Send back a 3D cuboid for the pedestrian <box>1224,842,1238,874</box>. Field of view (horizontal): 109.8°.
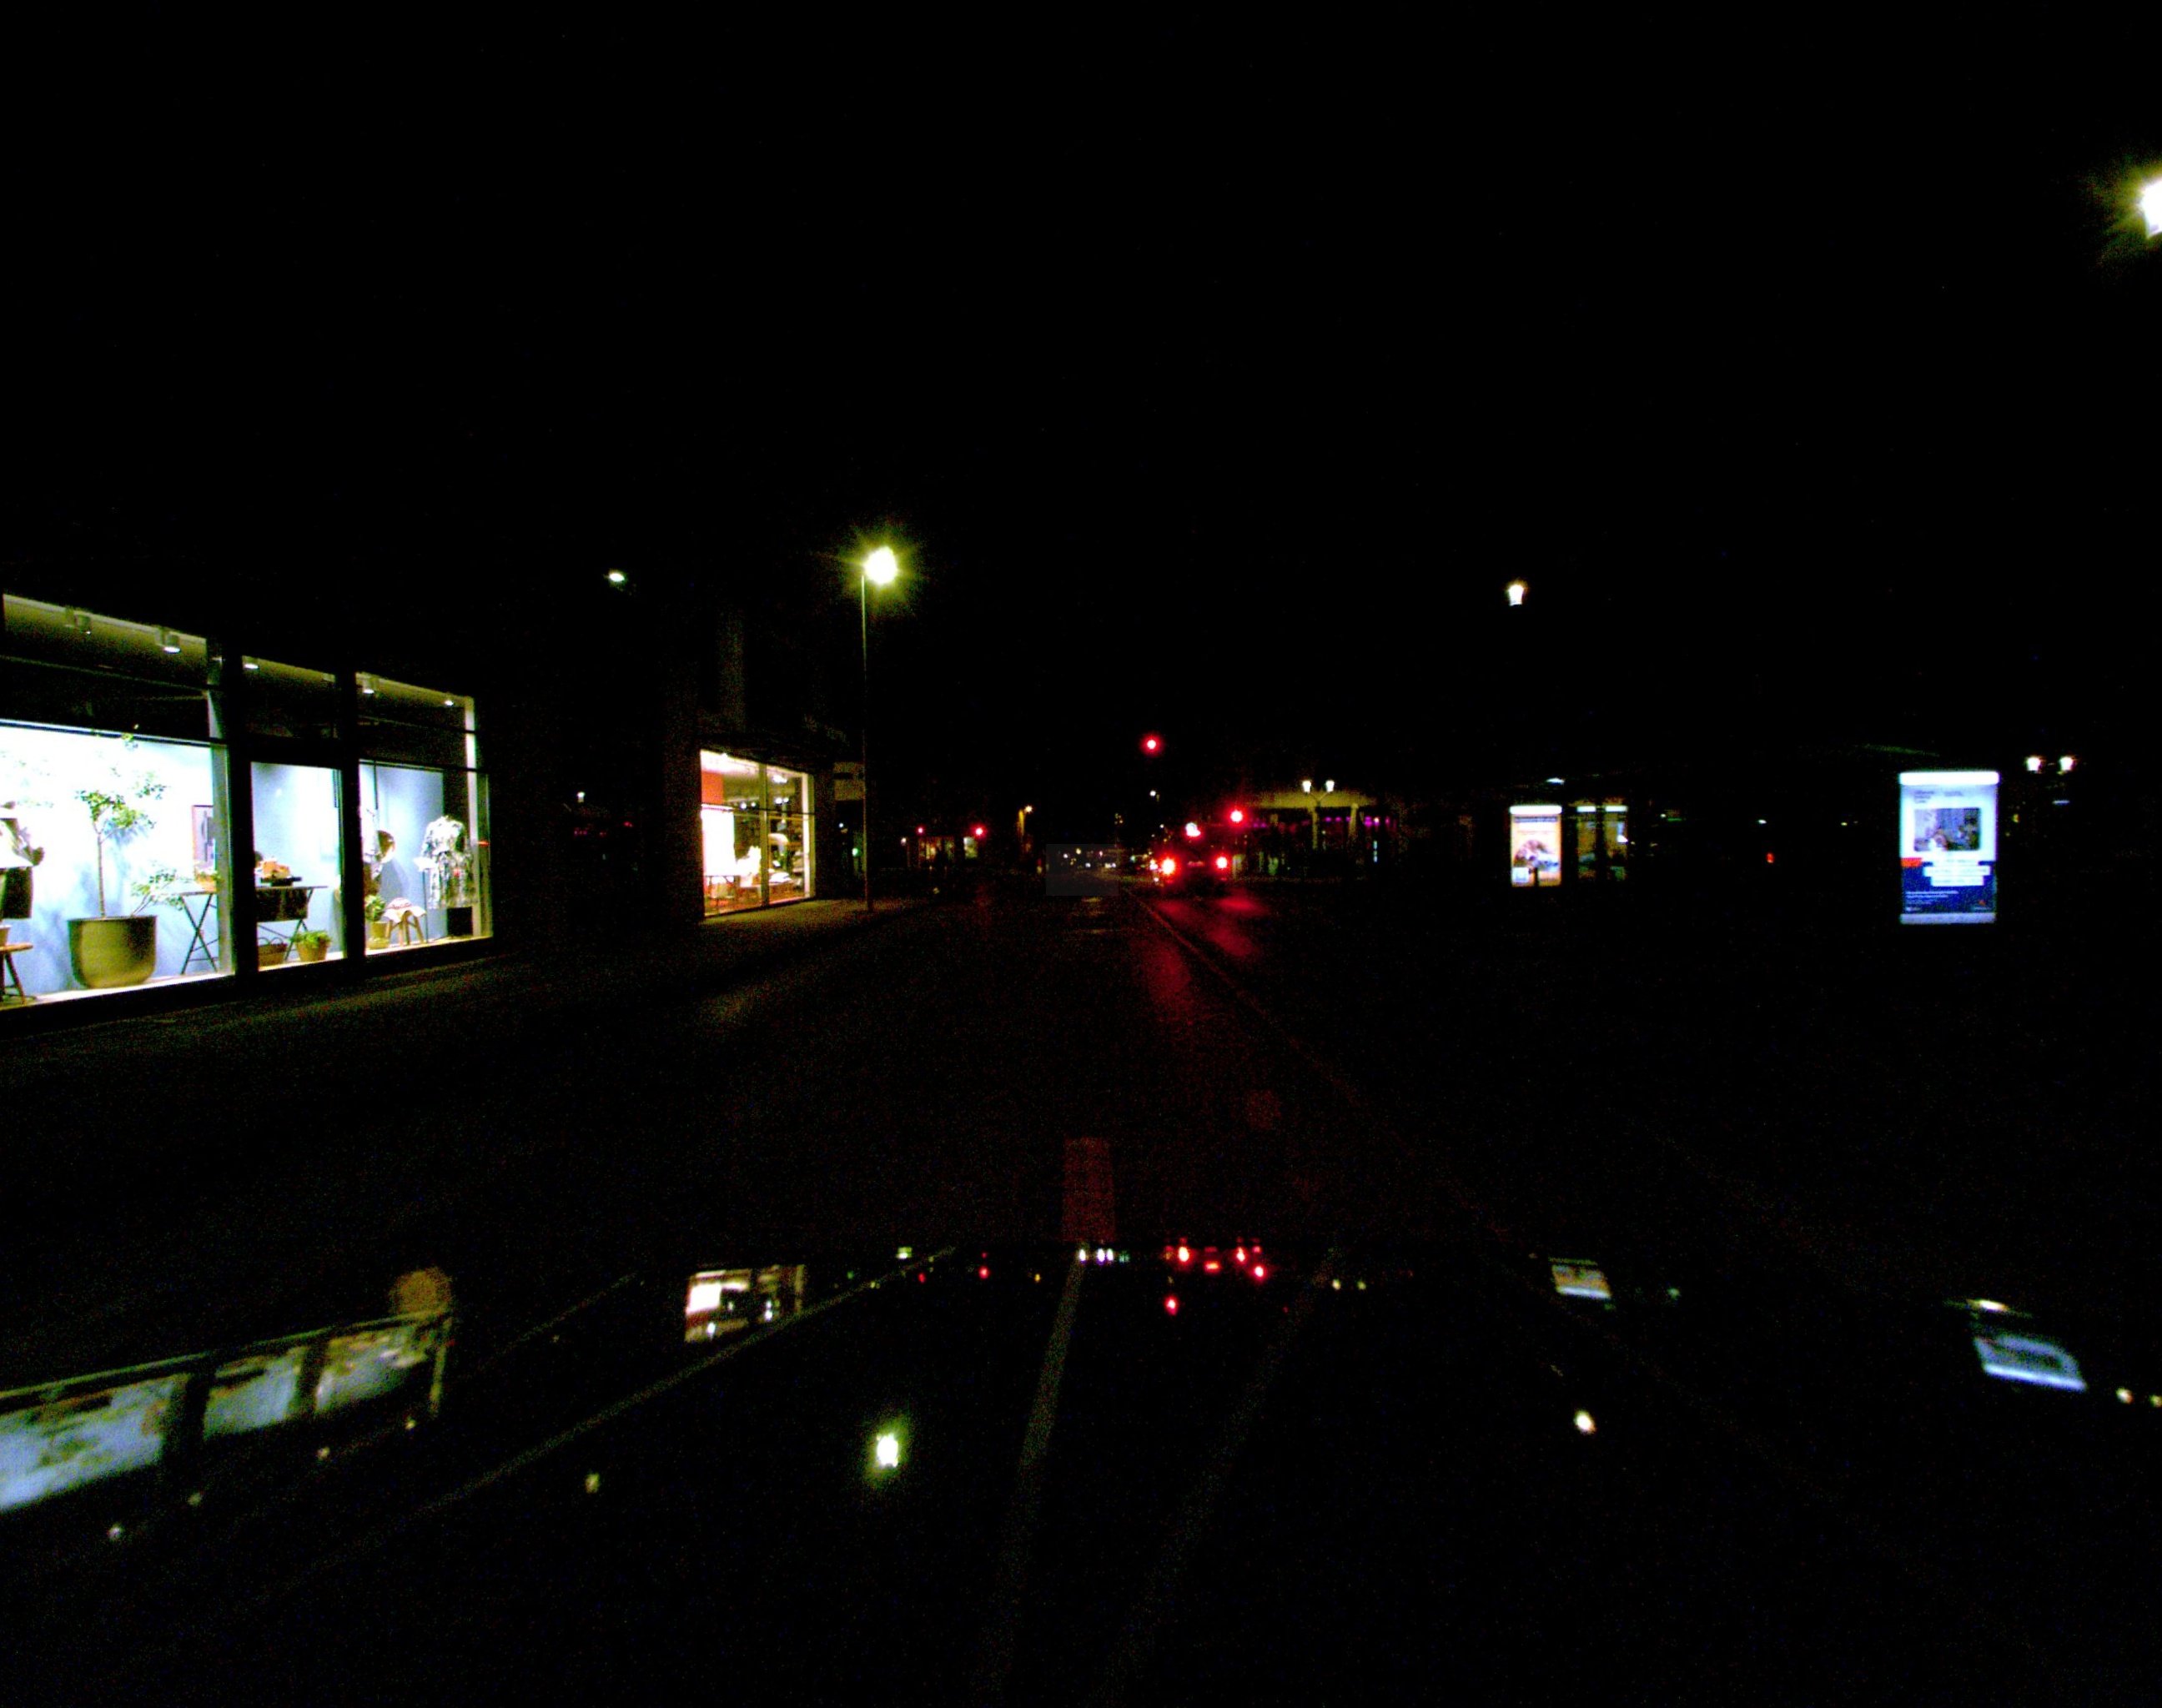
[{"bbox_3d":[7.712,0.183,39.134,0.646,1.619,0.583,-2,1,11],"label":"pedestrian"}]

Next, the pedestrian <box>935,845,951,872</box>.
[{"bbox_3d":[-9.114,0.299,50.323,0.877,1.723,0.647,0,1,4],"label":"pedestrian"}]

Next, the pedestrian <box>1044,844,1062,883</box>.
[{"bbox_3d":[-1.223,0.431,33.277,0.539,1.672,0.648,-2,1,23],"label":"pedestrian"}]

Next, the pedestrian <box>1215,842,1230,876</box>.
[{"bbox_3d":[6.989,0.235,37.517,0.646,1.619,0.583,-2,1,11],"label":"pedestrian"}]

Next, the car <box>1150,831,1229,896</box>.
[{"bbox_3d":[3.374,0.249,24.596,1.971,1.861,4.912,-1,1,2],"label":"car"}]

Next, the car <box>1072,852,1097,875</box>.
[{"bbox_3d":[0.282,0.706,60.266,1.713,1.660,3.738,-2,1,3],"label":"car"}]

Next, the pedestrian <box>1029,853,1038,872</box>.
[{"bbox_3d":[-3.797,0.651,60.737,0.647,1.487,0.830,0,1,2],"label":"pedestrian"}]

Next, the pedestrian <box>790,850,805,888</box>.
[{"bbox_3d":[-12.610,0.648,33.799,0.407,1.677,0.487,-2,1,5],"label":"pedestrian"}]

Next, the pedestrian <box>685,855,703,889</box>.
[{"bbox_3d":[-19.965,0.908,39.219,0.524,1.707,0.567,-2,1,8],"label":"pedestrian"}]

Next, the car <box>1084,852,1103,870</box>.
[{"bbox_3d":[1.288,0.701,77.688,1.879,1.718,3.999,-2,1,1],"label":"car"}]
